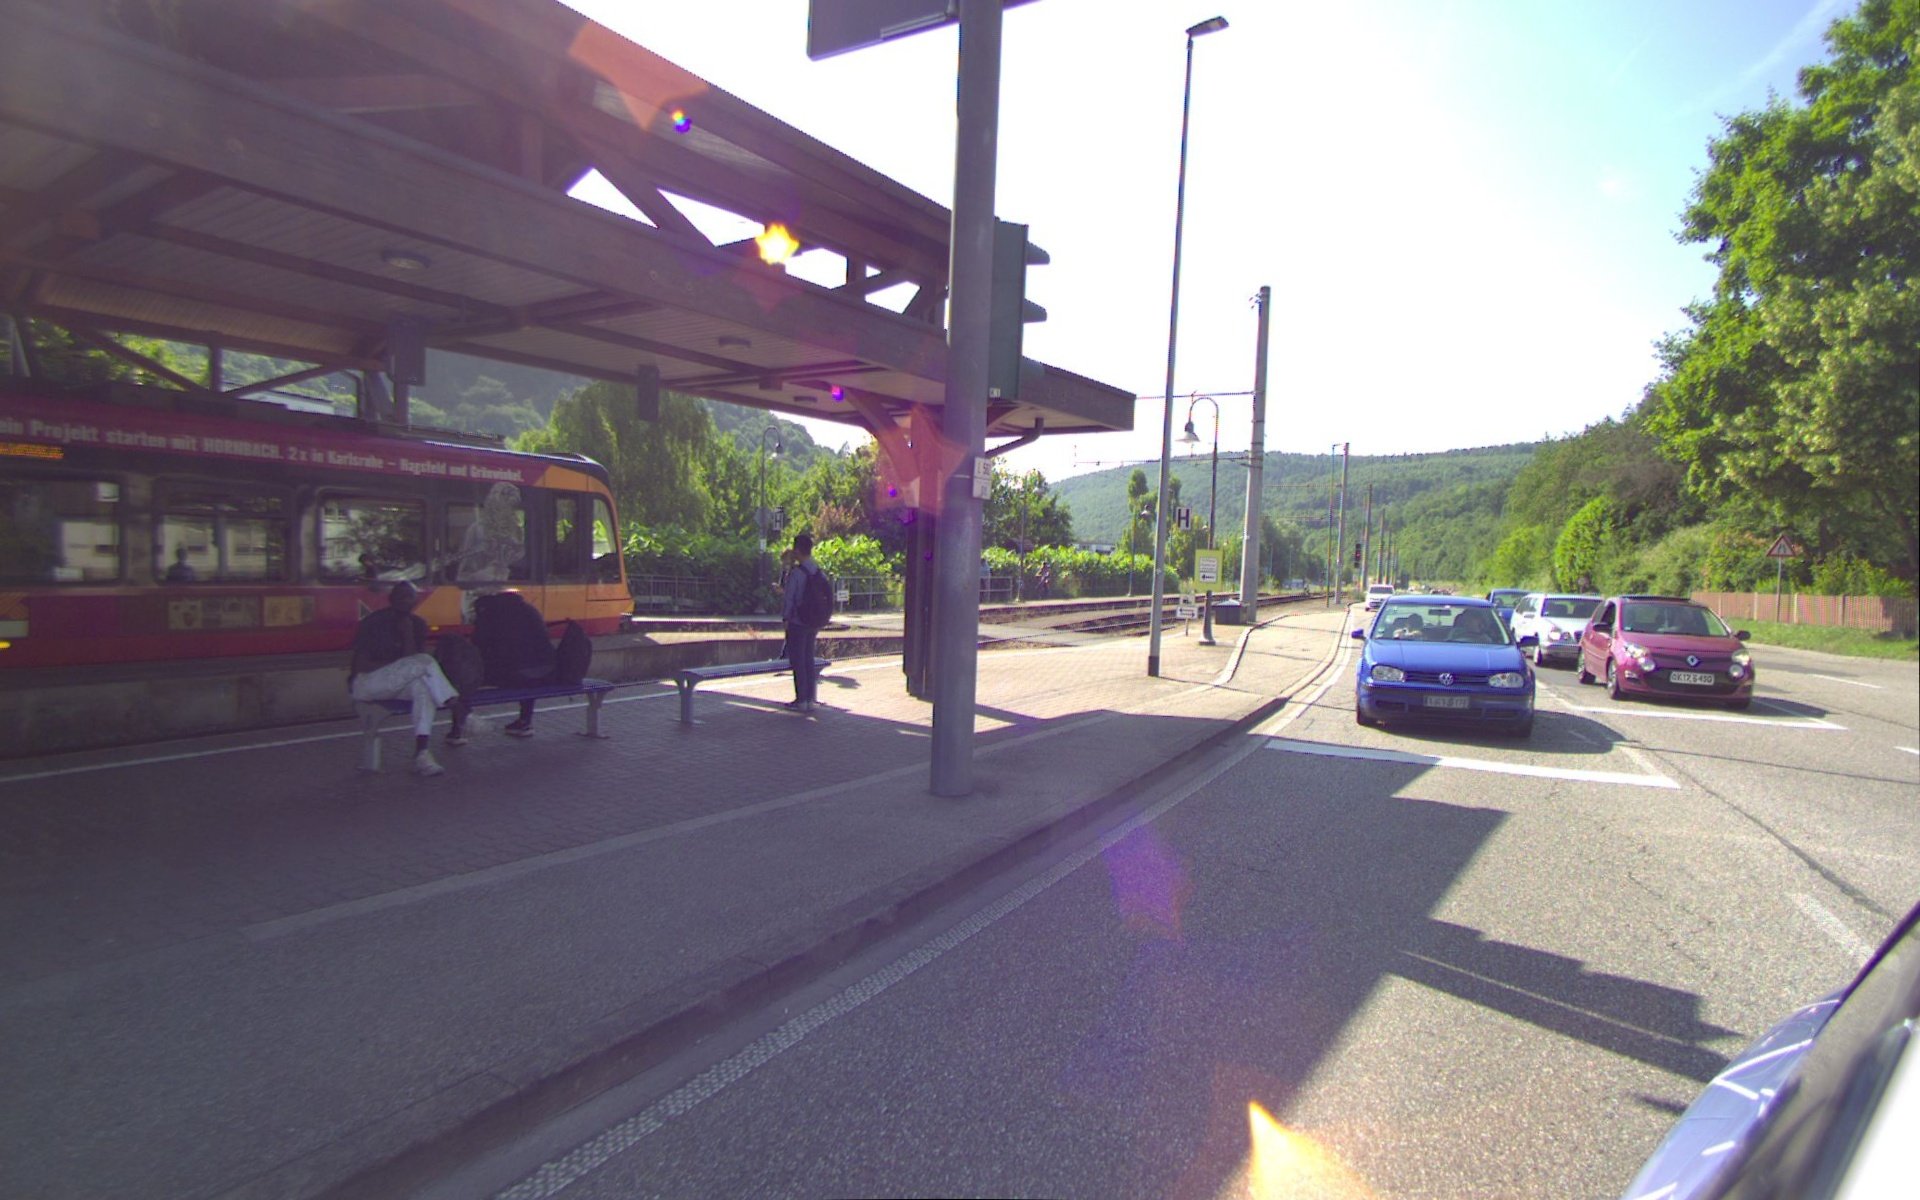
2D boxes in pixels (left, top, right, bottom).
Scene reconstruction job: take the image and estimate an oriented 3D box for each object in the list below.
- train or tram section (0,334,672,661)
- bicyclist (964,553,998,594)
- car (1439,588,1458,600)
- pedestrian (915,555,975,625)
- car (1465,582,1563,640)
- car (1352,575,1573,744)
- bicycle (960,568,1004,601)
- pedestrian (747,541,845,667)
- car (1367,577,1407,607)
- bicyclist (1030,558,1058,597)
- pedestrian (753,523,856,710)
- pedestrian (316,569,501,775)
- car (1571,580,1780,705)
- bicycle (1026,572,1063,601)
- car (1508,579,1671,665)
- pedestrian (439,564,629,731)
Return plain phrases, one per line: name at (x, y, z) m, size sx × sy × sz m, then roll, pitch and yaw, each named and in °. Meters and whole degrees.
train or tram section at (-10.176, -1.136, 12.976) m, size 2.844 × 3.406 × 14.188 m, roll 2°, pitch 2°, yaw 32°
bicyclist at (0.830, -1.050, 40.469) m, size 1.001 × 1.573 × 1.031 m, roll 1°, pitch 0°, yaw 28°
car at (73.283, -0.902, 151.907) m, size 1.974 × 1.705 × 3.976 m, roll 1°, pitch 0°, yaw 18°
pedestrian at (-0.388, -0.256, 25.865) m, size 1.242 × 1.759 × 0.905 m, roll 1°, pitch 0°, yaw 34°
car at (16.147, 0.294, 29.700) m, size 1.957 × 1.523 × 3.958 m, roll 1°, pitch 0°, yaw 21°
car at (5.613, 0.497, 11.718) m, size 1.845 × 1.501 × 4.269 m, roll 3°, pitch 2°, yaw 23°
bicycle at (0.900, -0.626, 40.571) m, size 0.865 × 1.270 × 2.273 m, roll 1°, pitch 0°, yaw 28°
pedestrian at (-2.137, 0.025, 13.252) m, size 0.857 × 1.566 × 0.912 m, roll 3°, pitch 3°, yaw 33°
car at (23.863, -0.484, 56.480) m, size 1.979 × 1.605 × 3.967 m, roll 1°, pitch 1°, yaw 25°
bicyclist at (3.833, -1.025, 46.074) m, size 1.001 × 1.748 × 0.857 m, roll 1°, pitch 0°, yaw 28°
pedestrian at (-1.505, 0.137, 9.832) m, size 0.652 × 1.712 × 0.733 m, roll 3°, pitch 2°, yaw 25°
pedestrian at (-3.611, 0.430, 6.637) m, size 0.984 × 1.251 × 0.591 m, roll 1°, pitch 0°, yaw 25°
car at (10.470, 0.521, 15.121) m, size 1.643 × 1.553 × 3.925 m, roll 2°, pitch 1°, yaw 22°
bicycle at (3.875, -0.588, 46.166) m, size 0.865 × 1.270 × 2.273 m, roll 1°, pitch 0°, yaw 28°
car at (12.800, 0.400, 20.907) m, size 1.957 × 1.523 × 4.717 m, roll 1°, pitch 0°, yaw 21°
pedestrian at (-3.291, 0.323, 7.862) m, size 0.999 × 1.174 × 0.941 m, roll 2°, pitch 2°, yaw 25°
